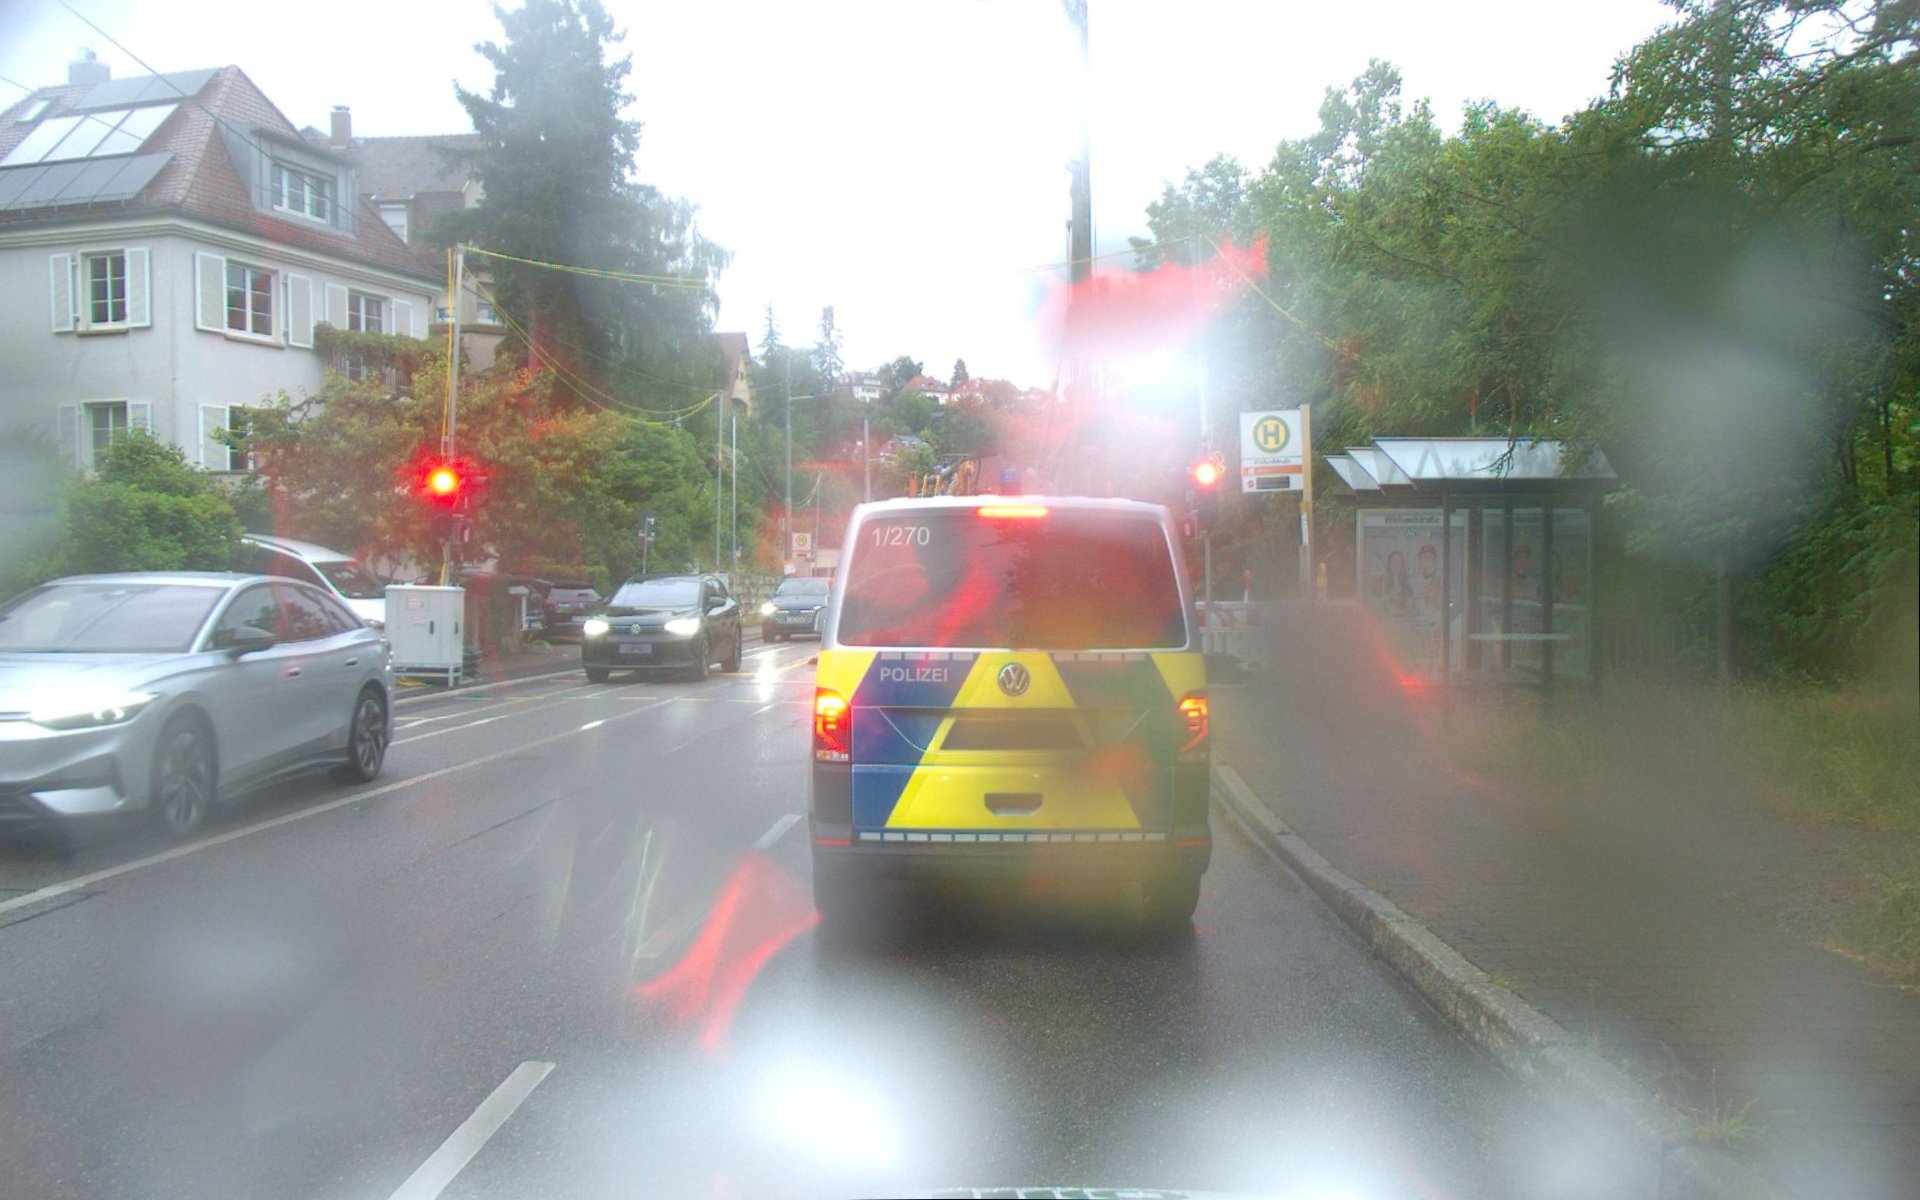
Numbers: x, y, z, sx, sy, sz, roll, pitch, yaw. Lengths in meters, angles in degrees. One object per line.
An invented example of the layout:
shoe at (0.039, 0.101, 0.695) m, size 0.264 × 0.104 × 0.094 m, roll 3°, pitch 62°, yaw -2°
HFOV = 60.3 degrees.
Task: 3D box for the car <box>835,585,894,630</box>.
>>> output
car at (-3.280, 0.227, 57.508) m, size 1.728 × 1.488 × 3.886 m, roll 1°, pitch 1°, yaw 1°

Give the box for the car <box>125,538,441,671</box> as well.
car at (-11.211, 0.052, 27.495) m, size 4.532 × 2.042 × 1.902 m, roll 1°, pitch 0°, yaw 11°

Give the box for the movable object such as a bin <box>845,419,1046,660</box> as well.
movable object such as a bin at (-0.169, -1.097, 31.644) m, size 2.770 × 4.250 × 4.384 m, roll 1°, pitch 0°, yaw 14°

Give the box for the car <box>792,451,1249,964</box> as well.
car at (0.225, 0.434, 8.826) m, size 1.855 × 2.086 × 3.999 m, roll 1°, pitch 0°, yaw -1°

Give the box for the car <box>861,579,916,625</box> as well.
car at (-2.915, 0.069, 66.365) m, size 1.941 × 1.778 × 4.547 m, roll 0°, pitch 0°, yaw -6°

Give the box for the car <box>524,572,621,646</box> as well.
car at (-8.914, 0.172, 37.833) m, size 1.739 × 1.512 × 3.721 m, roll 1°, pitch 2°, yaw -20°

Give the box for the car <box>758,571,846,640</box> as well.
car at (-4.144, 0.142, 44.025) m, size 1.953 × 1.703 × 4.687 m, roll 1°, pitch 0°, yaw -1°

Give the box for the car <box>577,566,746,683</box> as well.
car at (-4.653, 0.361, 26.395) m, size 1.828 × 1.650 × 4.165 m, roll -2°, pitch 0°, yaw 1°

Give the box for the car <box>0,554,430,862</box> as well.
car at (-5.198, 0.548, 10.829) m, size 1.815 × 1.554 × 4.820 m, roll 1°, pitch 0°, yaw 1°
